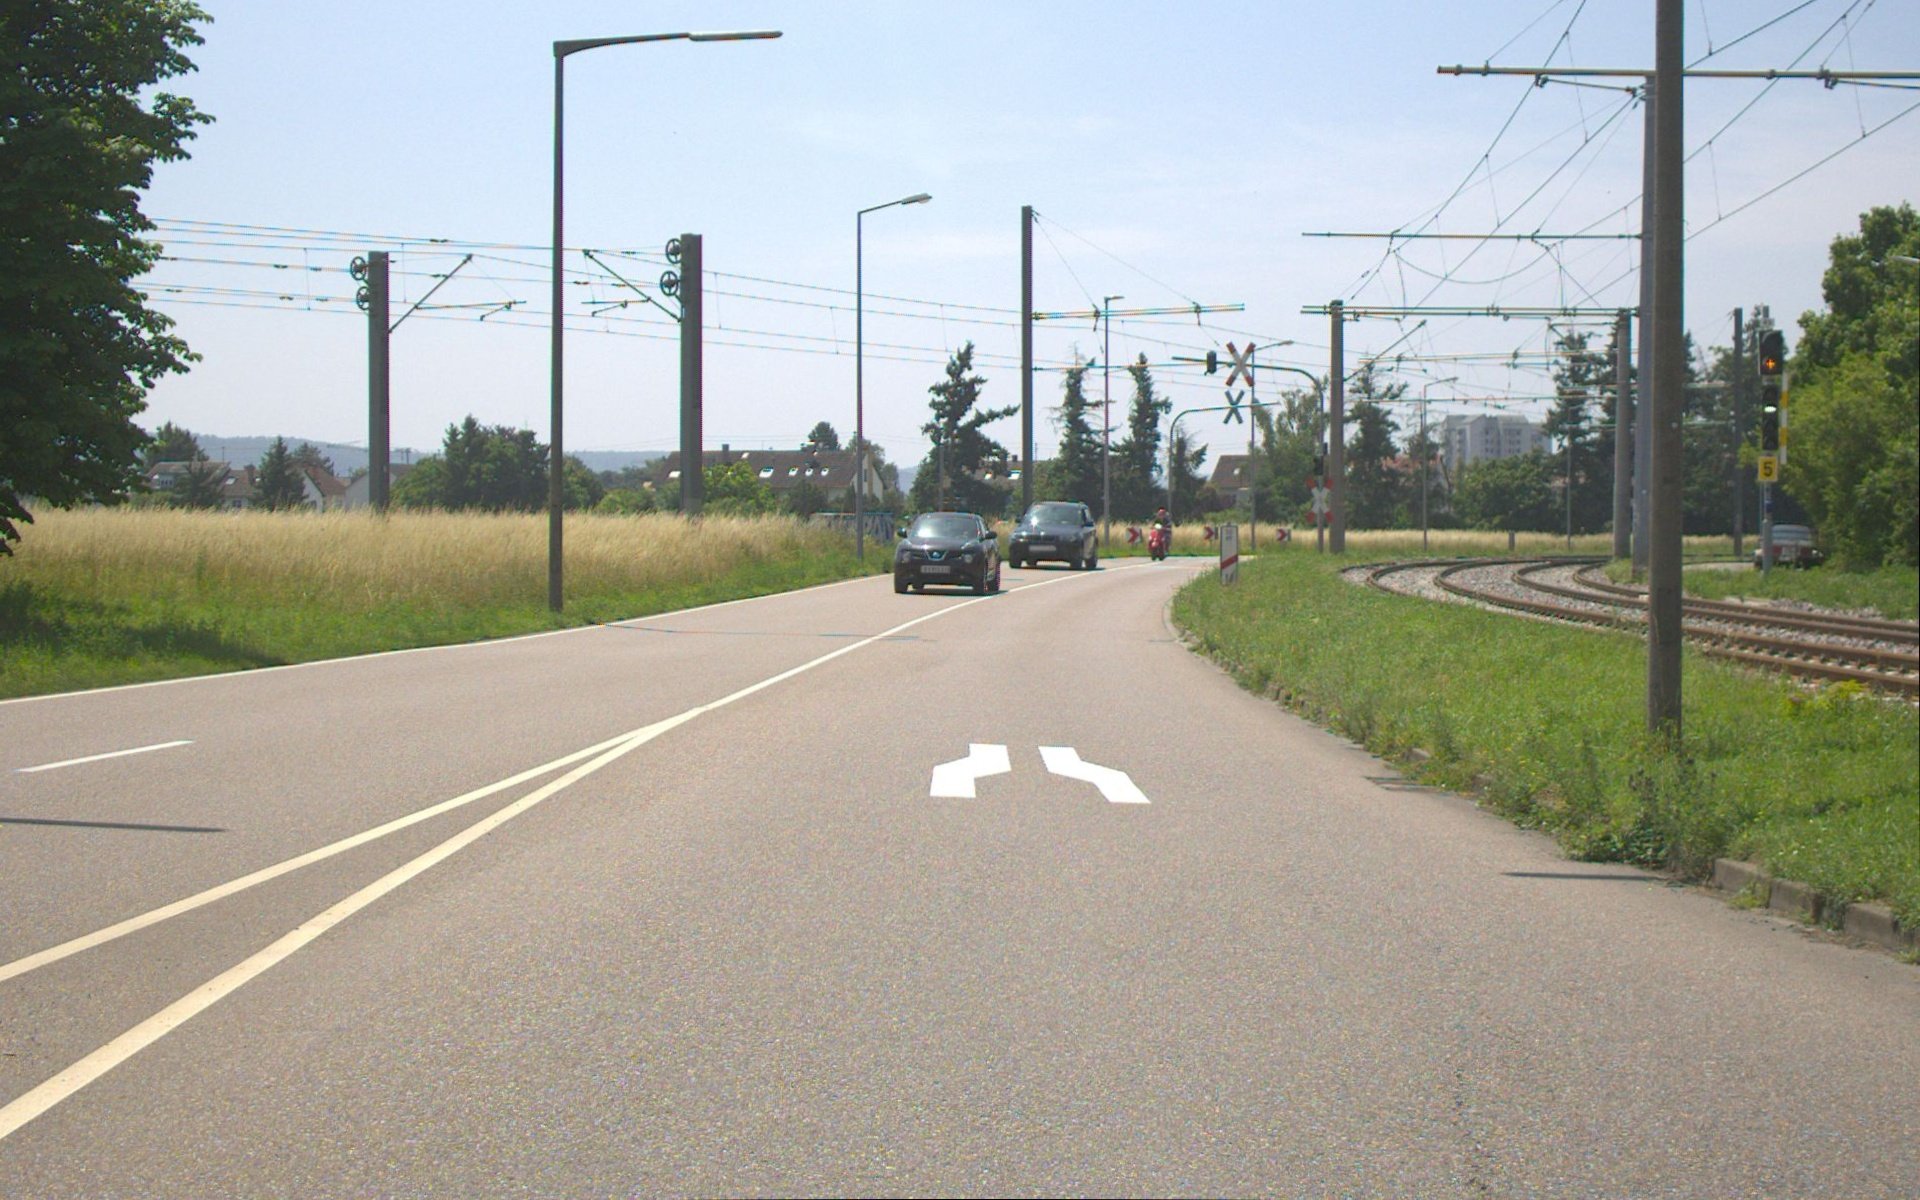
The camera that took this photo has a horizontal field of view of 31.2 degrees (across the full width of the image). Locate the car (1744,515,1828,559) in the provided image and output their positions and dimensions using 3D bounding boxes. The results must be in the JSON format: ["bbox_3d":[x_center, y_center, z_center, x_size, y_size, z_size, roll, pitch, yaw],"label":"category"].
[{"bbox_3d":[23.722,-1.801,98.862,1.644,1.166,3.668,0,0,2],"label":"car"}]

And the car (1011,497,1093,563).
[{"bbox_3d":[2.336,-1.779,86.431,1.827,1.596,4.484,1,2,4],"label":"car"}]

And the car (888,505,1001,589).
[{"bbox_3d":[-0.271,-1.013,67.262,1.822,1.567,4.111,0,0,5],"label":"car"}]

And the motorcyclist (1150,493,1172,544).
[{"bbox_3d":[6.347,-2.592,108.688,0.688,1.580,0.670,0,4,4],"label":"motorcyclist"}]

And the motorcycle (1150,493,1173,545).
[{"bbox_3d":[6.376,-2.569,108.894,0.704,1.580,2.147,0,3,4],"label":"motorcycle"}]
